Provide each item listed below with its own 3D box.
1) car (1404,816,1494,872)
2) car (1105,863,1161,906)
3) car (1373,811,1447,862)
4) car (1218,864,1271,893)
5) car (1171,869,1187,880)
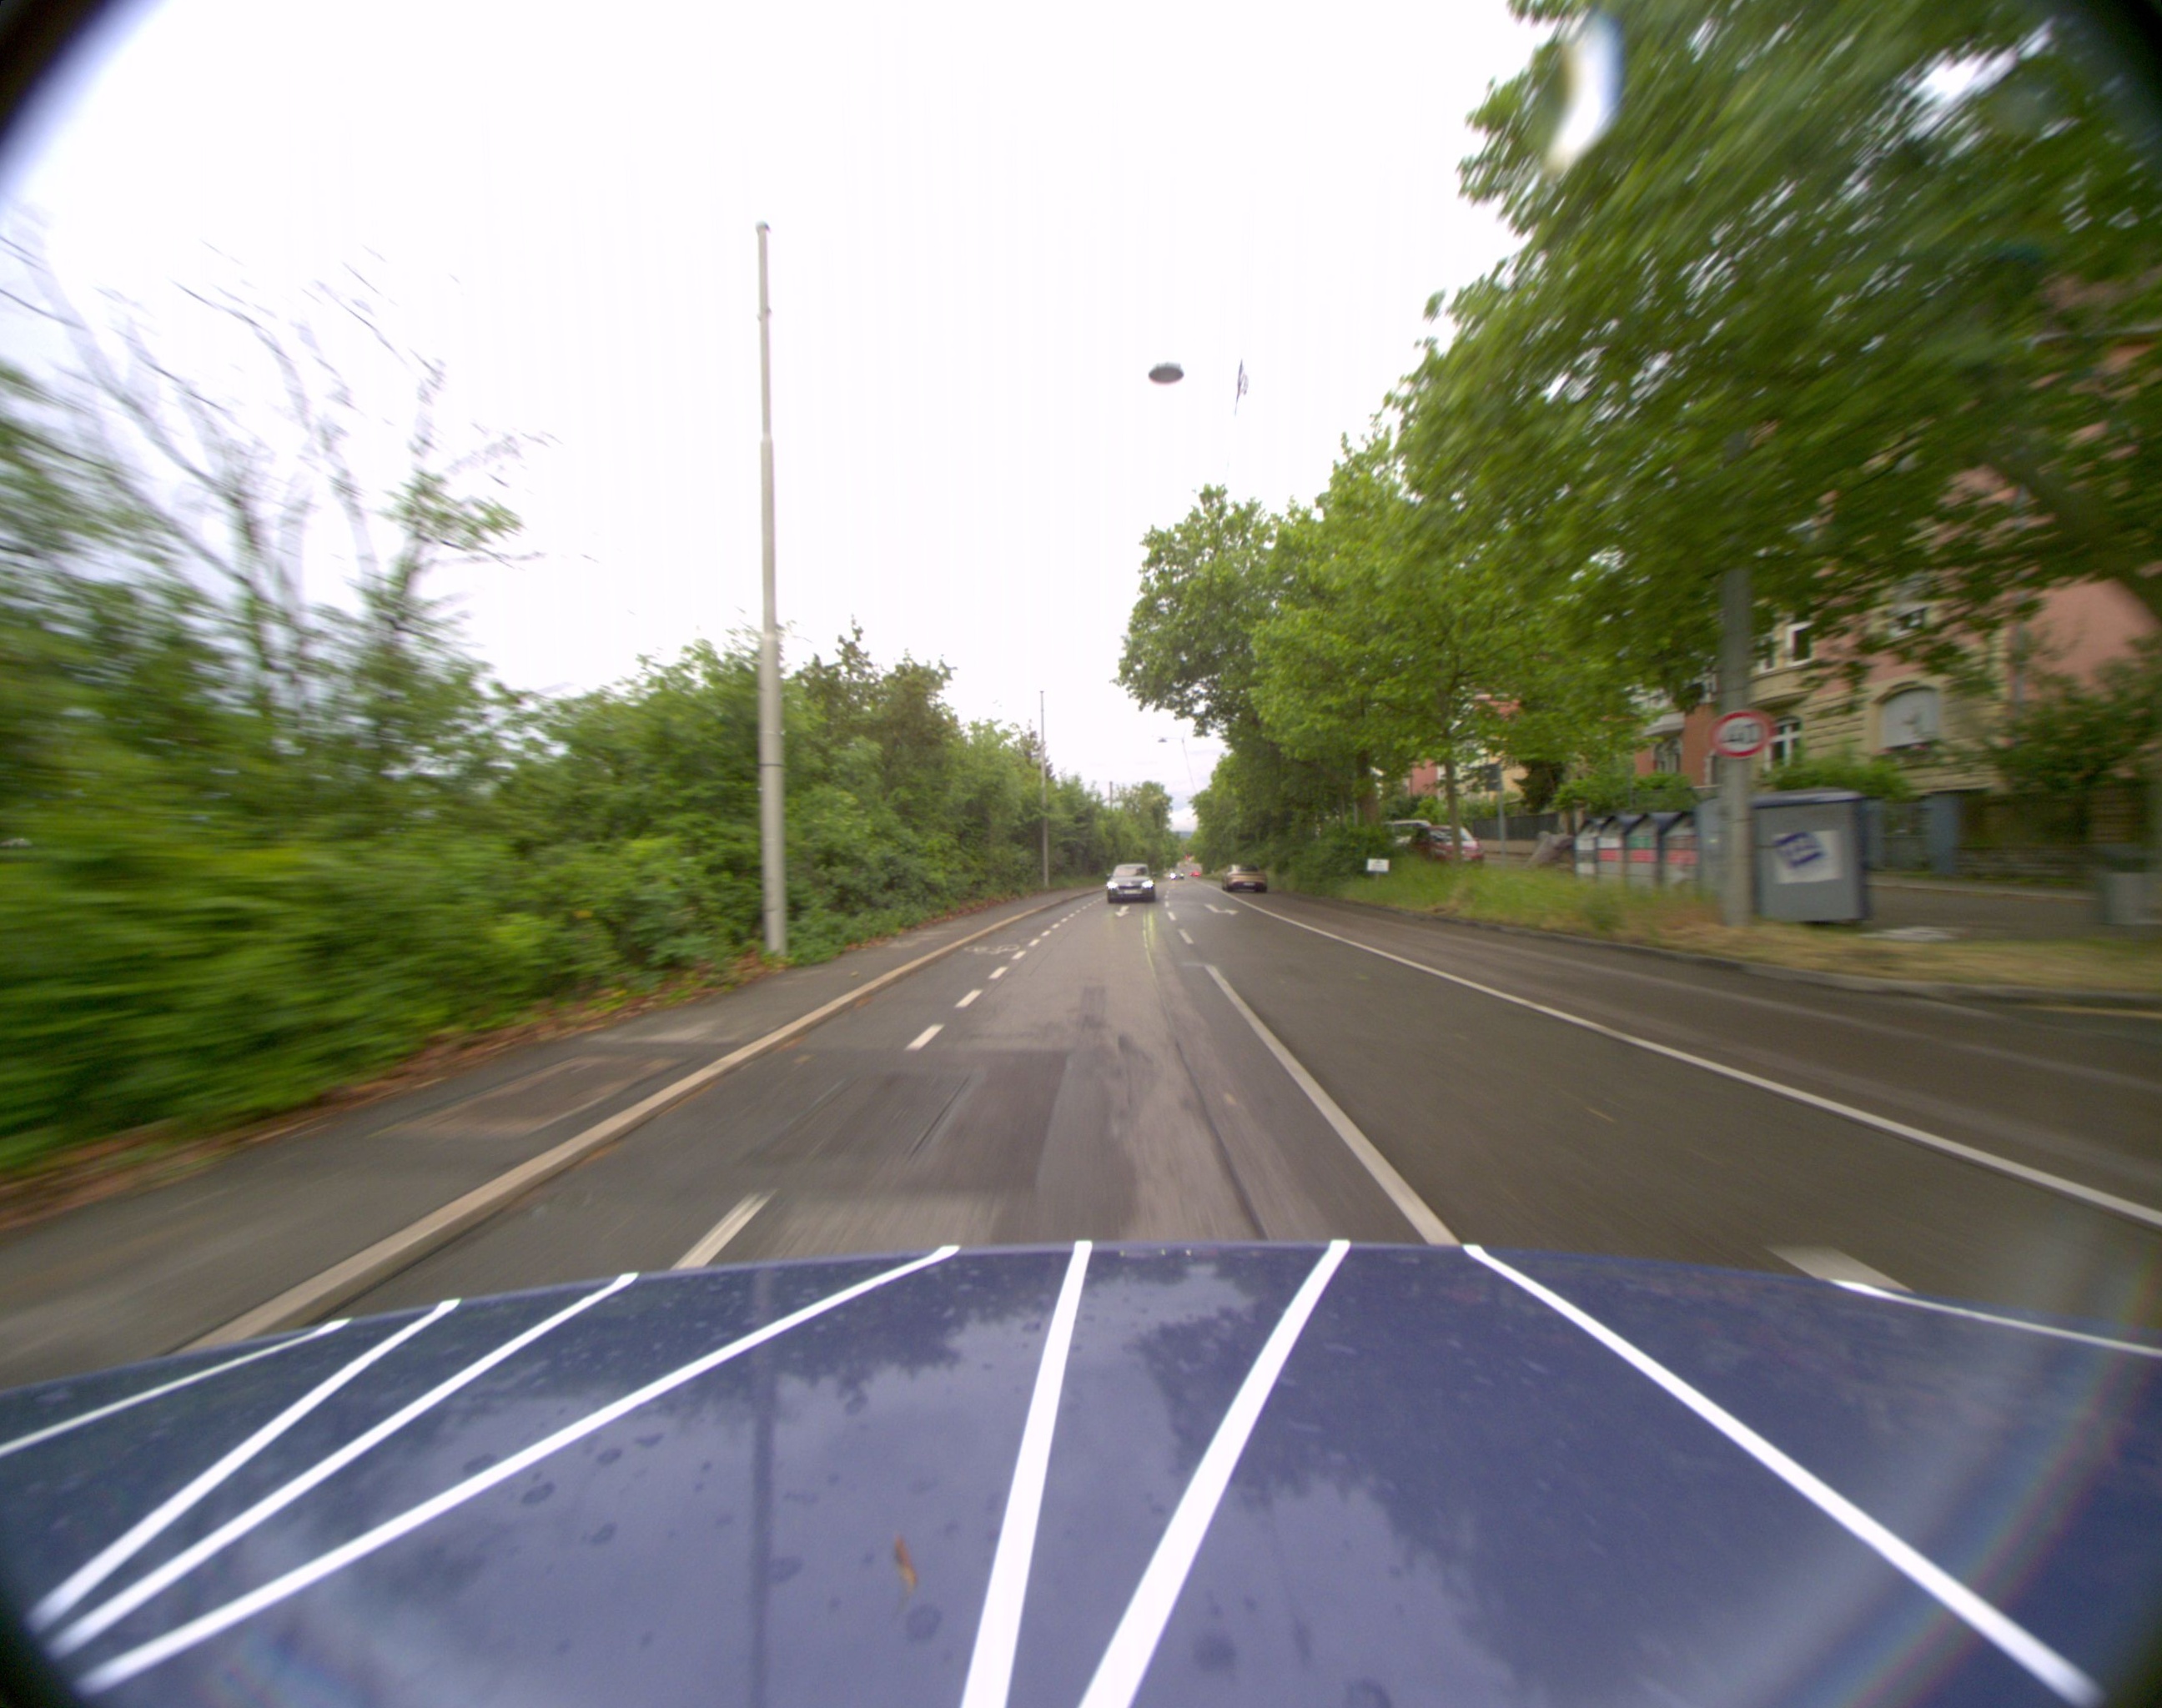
[{"bbox_3d":[13.704,-0.297,28.591,1.833,1.832,4.632,-3,-1,10],"label":"car"},{"bbox_3d":[2.064,1.157,29.638,1.980,1.496,4.002,-3,-1,5],"label":"car"},{"bbox_3d":[14.686,-0.714,34.225,1.997,2.001,4.632,-3,-1,10],"label":"car"},{"bbox_3d":[8.284,1.231,38.860,2.075,1.344,4.716,-3,-1,5],"label":"car"},{"bbox_3d":[13.956,2.932,107.950,1.998,1.433,4.002,-3,-1,5],"label":"car"}]
